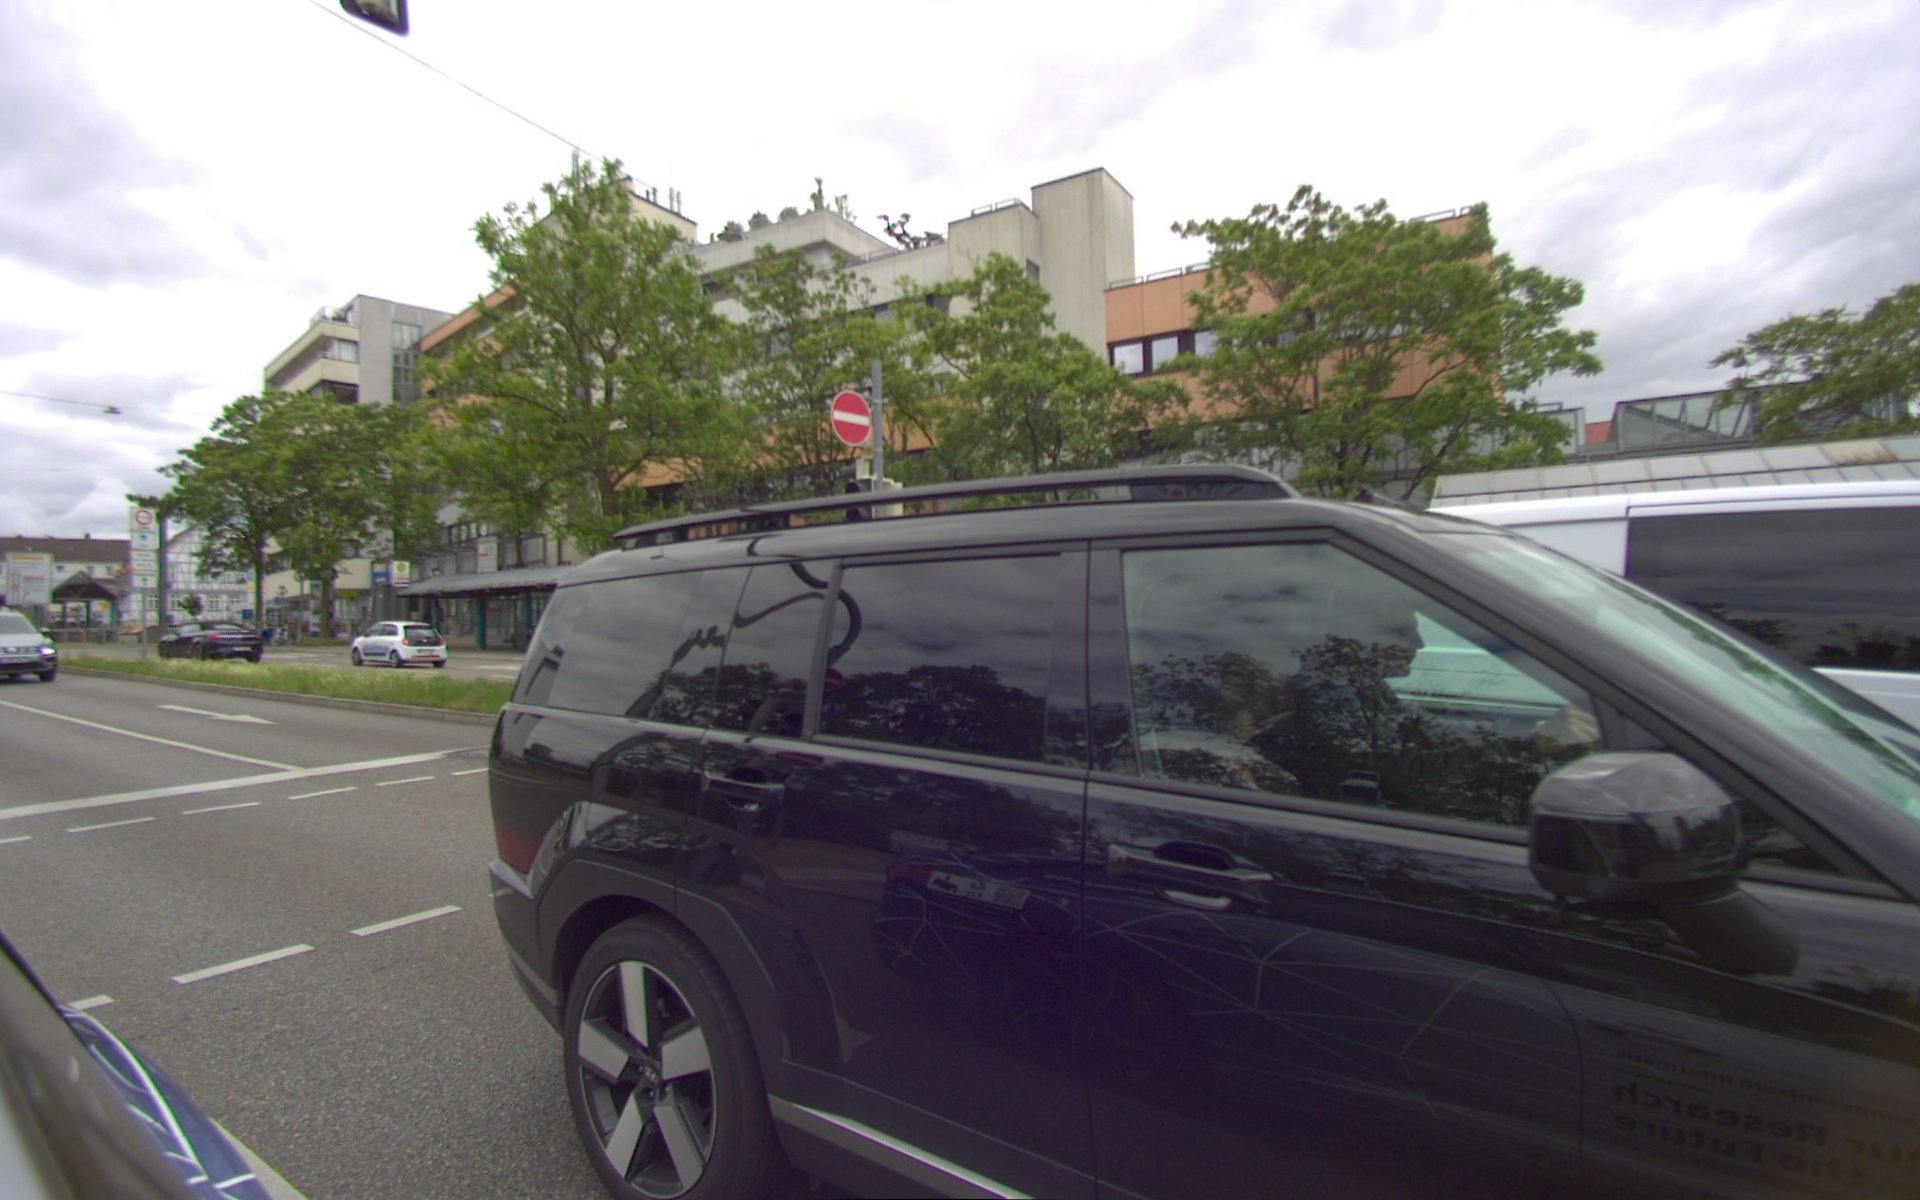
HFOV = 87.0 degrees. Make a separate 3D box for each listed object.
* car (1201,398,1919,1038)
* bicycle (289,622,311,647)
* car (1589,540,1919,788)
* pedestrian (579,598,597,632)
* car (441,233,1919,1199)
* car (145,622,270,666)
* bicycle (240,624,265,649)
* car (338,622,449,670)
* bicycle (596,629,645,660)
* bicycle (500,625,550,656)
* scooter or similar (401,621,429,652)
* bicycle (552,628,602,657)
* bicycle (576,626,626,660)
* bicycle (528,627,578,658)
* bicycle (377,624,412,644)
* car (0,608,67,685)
[{"bbox_3d":[3.702,0.369,3.877,5.065,2.029,1.857,-2,-1,36],"label":"car"},{"bbox_3d":[-34.203,1.763,52.464,0.616,1.263,1.689,0,-2,-21],"label":"bicycle"},{"bbox_3d":[8.211,0.550,9.213,4.167,2.029,1.977,-1,-2,33],"label":"car"},{"bbox_3d":[-18.536,0.759,50.414,0.674,1.656,0.527,-1,-2,38],"label":"pedestrian"},{"bbox_3d":[0.965,0.530,2.206,4.670,1.765,1.905,-1,-1,37],"label":"car"},{"bbox_3d":[-26.110,1.501,35.073,4.996,1.408,1.799,-1,-3,33],"label":"car"},{"bbox_3d":[-35.786,1.837,51.189,0.616,1.263,1.689,0,-2,-21],"label":"bicycle"},{"bbox_3d":[-19.328,1.538,34.499,3.991,1.529,1.732,-1,-1,35],"label":"car"},{"bbox_3d":[-13.400,1.743,39.957,0.706,1.162,2.057,-1,-1,21],"label":"bicycle"},{"bbox_3d":[-18.293,1.683,42.597,0.706,1.162,2.057,-1,1,21],"label":"bicycle"},{"bbox_3d":[-25.271,1.676,46.915,0.221,1.395,1.193,-1,-2,29],"label":"scooter or similar"},{"bbox_3d":[-15.489,1.705,41.005,0.706,1.162,2.057,-1,-1,21],"label":"bicycle"},{"bbox_3d":[-14.324,1.704,40.396,0.706,1.162,2.058,-1,2,21],"label":"bicycle"},{"bbox_3d":[-16.590,1.707,41.274,0.706,1.162,2.057,-1,0,21],"label":"bicycle"},{"bbox_3d":[-37.892,2.273,67.818,1.942,1.329,0.707,1,-2,-38],"label":"bicycle"},{"bbox_3d":[-22.722,1.081,23.588,4.385,1.662,1.976,-1,0,37],"label":"car"}]
